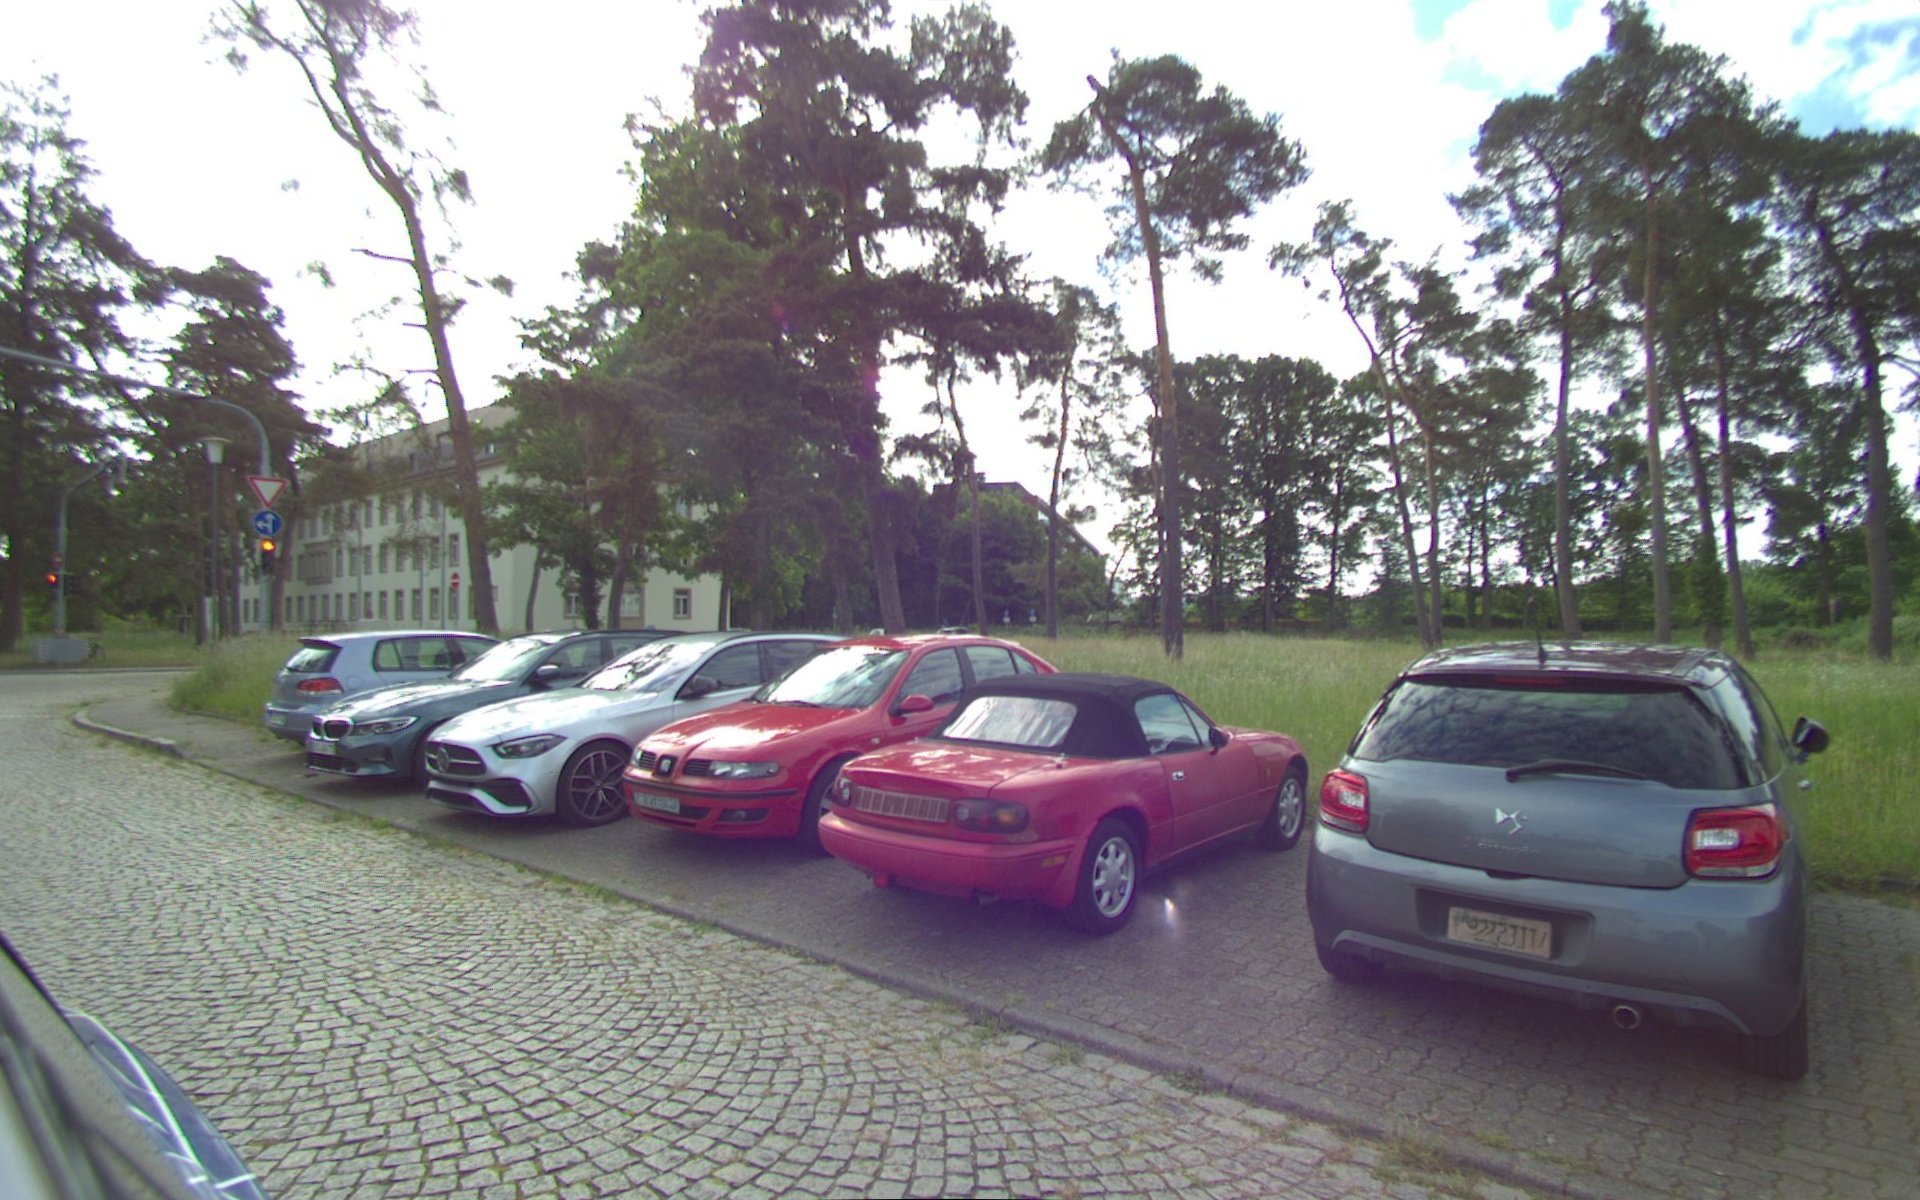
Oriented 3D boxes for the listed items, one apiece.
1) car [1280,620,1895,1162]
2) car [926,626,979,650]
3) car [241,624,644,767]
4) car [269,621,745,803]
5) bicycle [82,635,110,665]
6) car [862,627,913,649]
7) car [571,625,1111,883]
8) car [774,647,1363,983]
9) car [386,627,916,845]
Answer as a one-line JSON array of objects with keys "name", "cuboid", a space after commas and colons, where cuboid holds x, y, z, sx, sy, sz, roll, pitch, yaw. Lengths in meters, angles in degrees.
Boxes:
[{"name": "car", "cuboid": [3.251, 0.866, 4.964, 1.754, 1.492, 4.046, -2, -2, 40]}, {"name": "car", "cuboid": [-0.501, 2.808, 75.321, 1.716, 1.622, 4.002, 0, 0, 41]}, {"name": "car", "cuboid": [-6.483, 1.077, 13.080, 1.826, 1.481, 4.284, -1, -1, 41]}, {"name": "car", "cuboid": [-4.687, 1.019, 11.131, 1.867, 1.549, 4.460, -1, -1, 36]}, {"name": "bicycle", "cuboid": [-32.813, 1.905, 38.435, 1.414, 1.082, 0.492, -1, 1, 37]}, {"name": "car", "cuboid": [-5.740, 3.001, 80.599, 1.717, 1.622, 4.000, 0, 0, 43]}, {"name": "car", "cuboid": [-0.689, 0.963, 8.138, 1.853, 1.466, 4.211, -2, -2, 39]}, {"name": "car", "cuboid": [0.978, 1.003, 6.412, 1.762, 1.293, 4.090, -2, -2, 39]}, {"name": "car", "cuboid": [-2.606, 1.017, 9.436, 1.948, 1.466, 4.391, -1, -1, 40]}]
